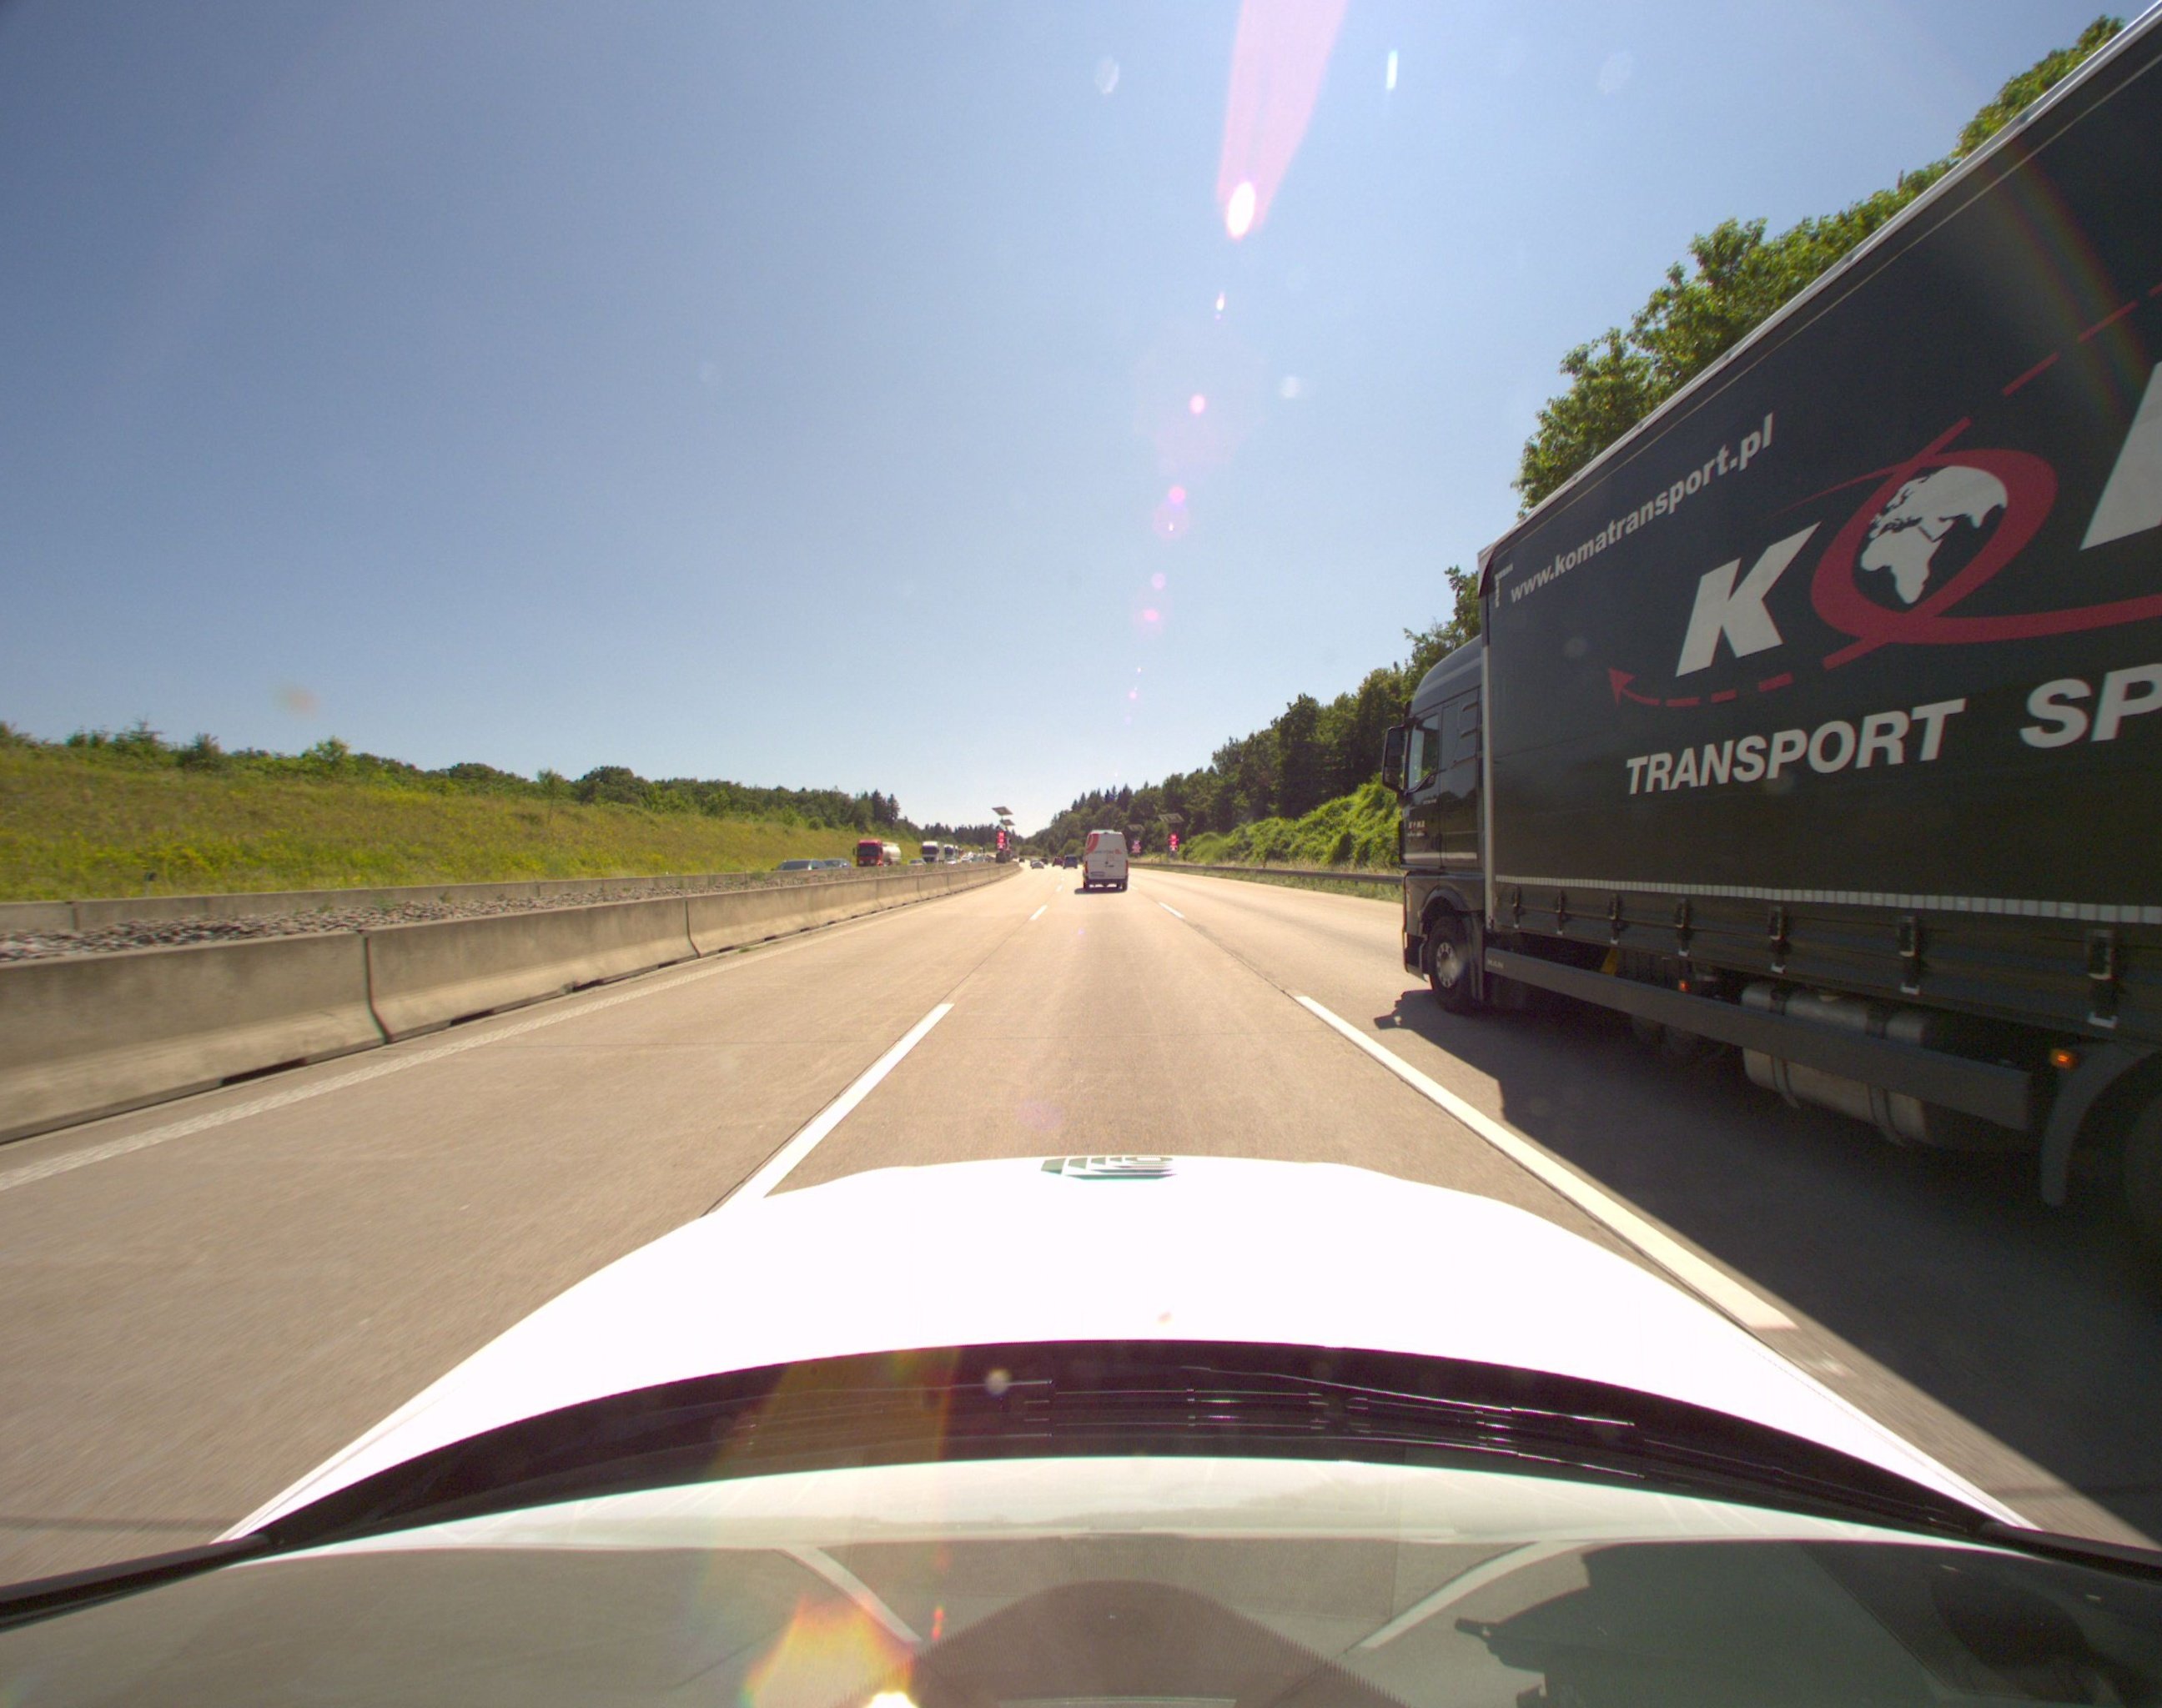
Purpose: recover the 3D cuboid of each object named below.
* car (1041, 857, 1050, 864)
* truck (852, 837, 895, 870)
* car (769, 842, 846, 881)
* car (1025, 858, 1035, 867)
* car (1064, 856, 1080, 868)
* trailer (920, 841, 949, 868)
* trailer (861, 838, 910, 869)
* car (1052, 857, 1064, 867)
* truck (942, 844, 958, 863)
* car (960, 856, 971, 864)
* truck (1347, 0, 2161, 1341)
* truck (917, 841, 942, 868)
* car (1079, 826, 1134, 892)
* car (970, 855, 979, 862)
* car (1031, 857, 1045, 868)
[{"bbox_3d":[-8.116,1.503,185.110,1.989,1.684,3.994,1,-1,-4],"label":"car"},{"bbox_3d":[-21.276,-0.048,83.721,2.926,3.215,5.900,1,-1,-2],"label":"truck"},{"bbox_3d":[-11.879,0.306,35.644,1.987,1.585,4.000,-1,0,1],"label":"car"},{"bbox_3d":[-9.930,1.675,158.946,1.989,1.684,3.994,1,-1,-4],"label":"car"},{"bbox_3d":[-1.296,1.100,114.659,1.989,1.684,3.994,1,-1,-4],"label":"car"},{"bbox_3d":[-23.951,0.172,134.174,2.927,4.169,14.369,1,-1,-3],"label":"trailer"},{"bbox_3d":[-21.477,0.013,90.268,2.926,3.215,11.822,1,-1,-2],"label":"trailer"},{"bbox_3d":[-4.201,1.476,149.166,1.989,1.684,3.994,1,-1,-4],"label":"car"},{"bbox_3d":[-29.563,-0.083,184.395,2.928,4.169,6.218,1,-1,-5],"label":"truck"},{"bbox_3d":[-25.034,1.315,177.195,1.989,1.684,3.995,-1,0,-3],"label":"car"},{"bbox_3d":[4.630,-0.661,4.452,3.148,4.017,10.611,-1,0,2],"label":"truck"},{"bbox_3d":[-23.548,0.099,126.795,2.927,4.169,5.753,1,-1,-4],"label":"truck"},{"bbox_3d":[1.125,0.196,38.311,2.221,2.844,5.450,-1,0,-2],"label":"car"},{"bbox_3d":[-26.361,1.205,202.023,1.989,1.684,3.995,-1,0,-3],"label":"car"},{"bbox_3d":[-6.414,1.258,120.908,1.989,1.684,3.994,1,-1,-4],"label":"car"}]
